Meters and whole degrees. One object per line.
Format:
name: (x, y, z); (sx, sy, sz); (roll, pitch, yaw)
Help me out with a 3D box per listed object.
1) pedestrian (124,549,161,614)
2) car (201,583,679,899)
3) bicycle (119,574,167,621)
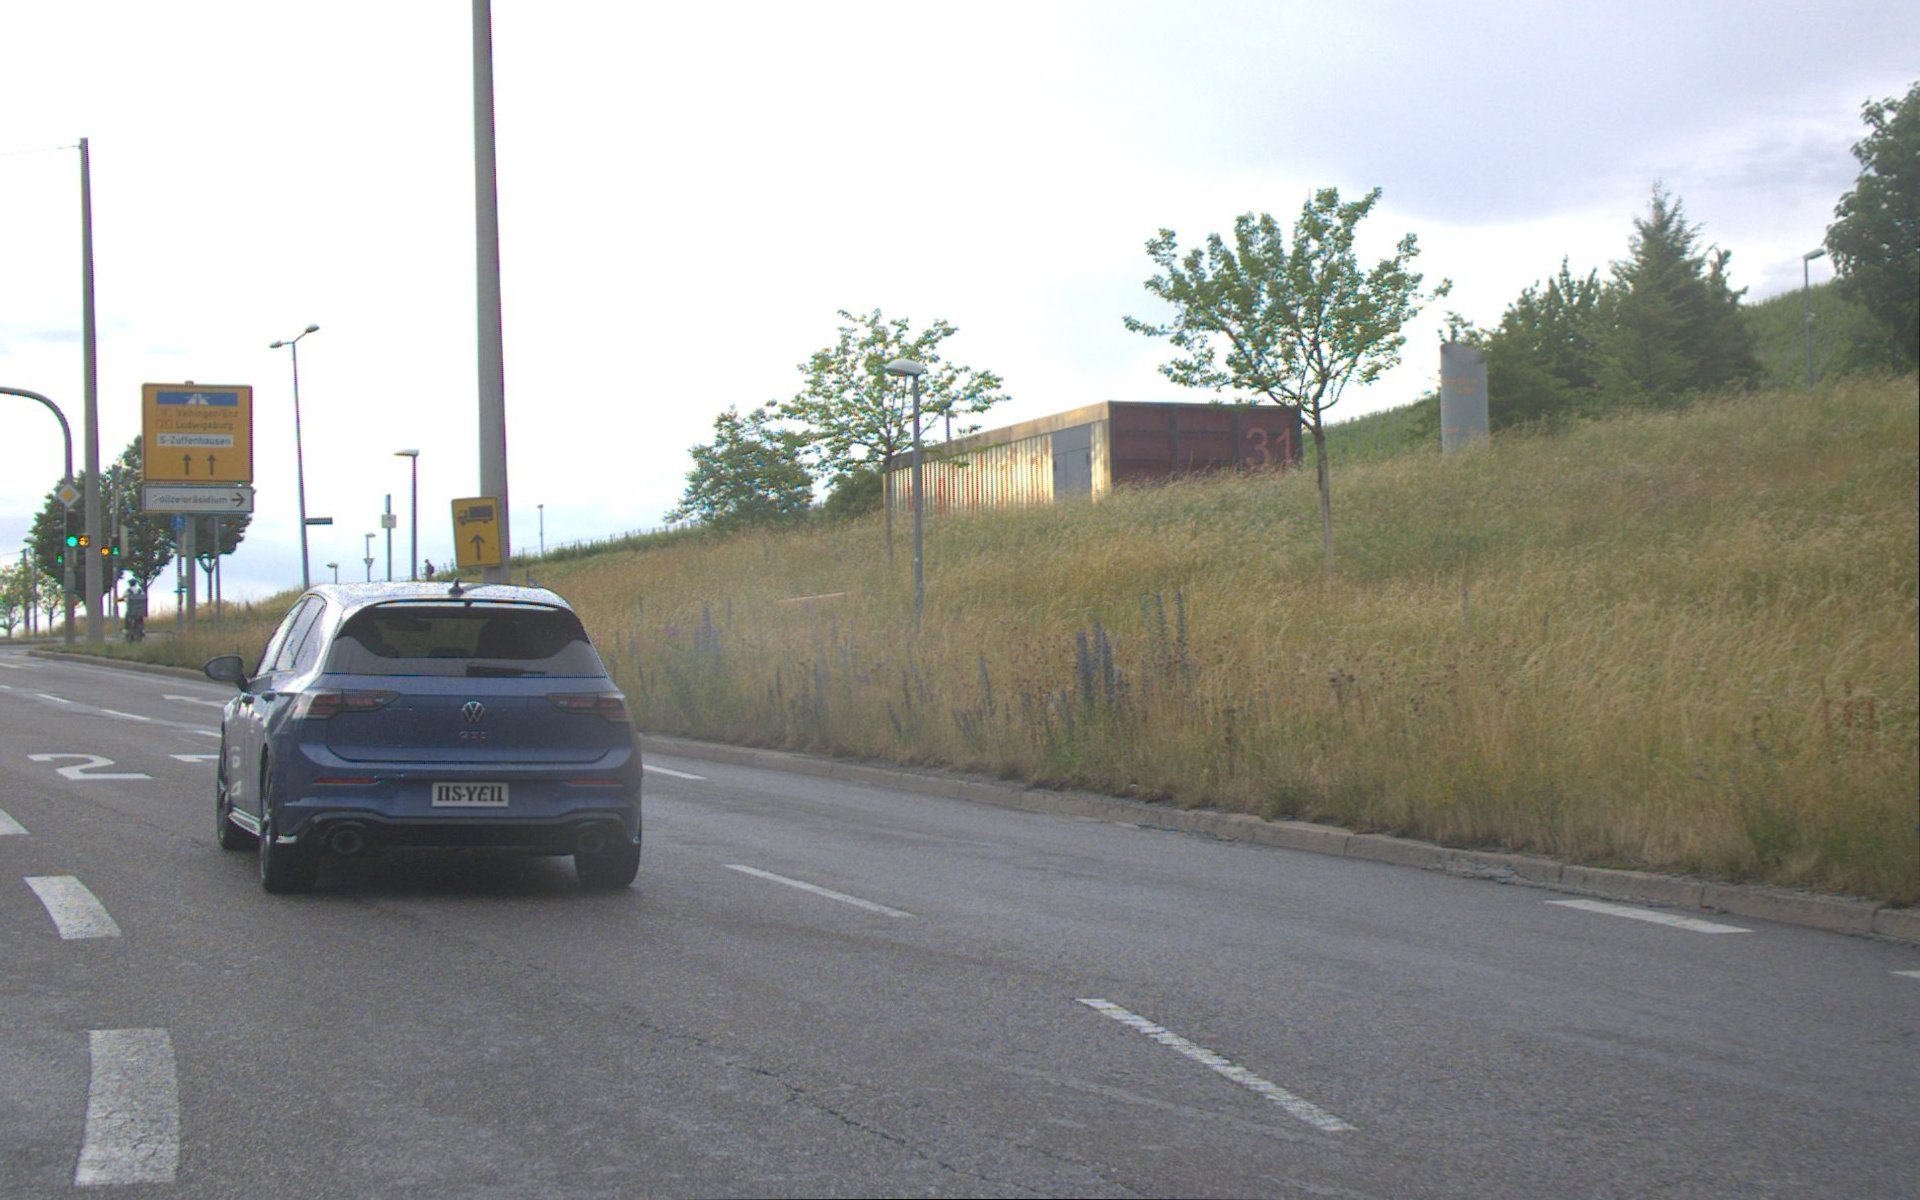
pedestrian: (-19.957, -0.459, 83.900); (0.632, 1.565, 0.896); (-1, 2, -30)
car: (-2.734, 0.616, 17.316); (1.837, 1.389, 4.001); (0, 0, -17)
bicycle: (-19.947, -0.063, 83.895); (0.632, 1.101, 1.753); (0, 2, -31)
